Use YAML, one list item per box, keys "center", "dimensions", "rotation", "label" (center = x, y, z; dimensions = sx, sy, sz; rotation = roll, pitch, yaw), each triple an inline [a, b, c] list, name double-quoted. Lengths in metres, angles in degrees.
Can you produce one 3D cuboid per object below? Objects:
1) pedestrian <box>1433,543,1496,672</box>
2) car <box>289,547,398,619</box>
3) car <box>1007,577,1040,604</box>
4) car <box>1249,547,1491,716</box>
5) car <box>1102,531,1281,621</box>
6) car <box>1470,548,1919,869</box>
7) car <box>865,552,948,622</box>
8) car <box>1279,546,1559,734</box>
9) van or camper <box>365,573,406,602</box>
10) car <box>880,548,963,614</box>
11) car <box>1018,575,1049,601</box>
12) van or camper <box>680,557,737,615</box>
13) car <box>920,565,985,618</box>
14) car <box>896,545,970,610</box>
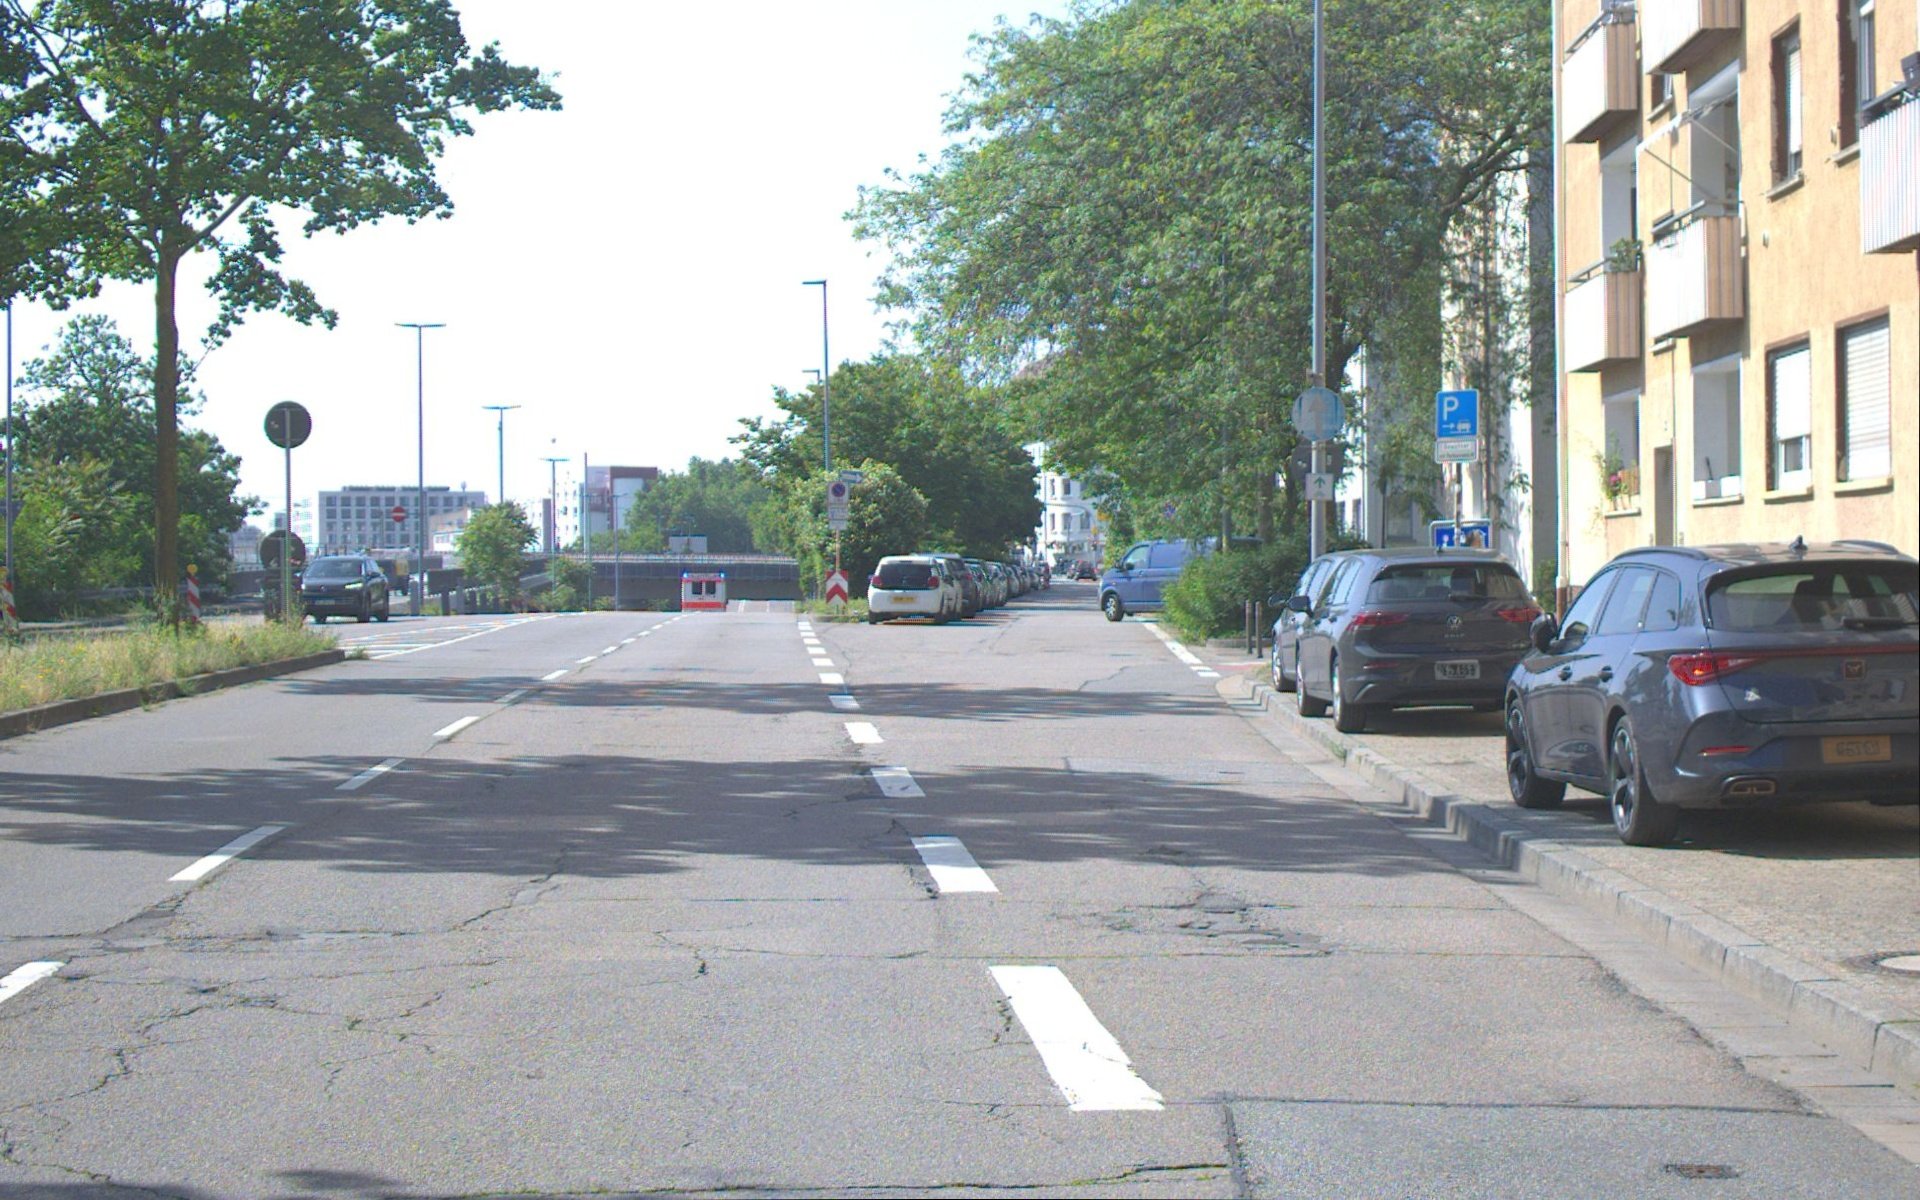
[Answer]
- center: [6.387, 0.089, 43.549]
  dimensions: [0.655, 1.603, 0.824]
  rotation: [-2, 1, 3]
  label: "pedestrian"
- center: [-15.269, -0.437, 85.327]
  dimensions: [1.993, 1.728, 4.730]
  rotation: [0, 0, -2]
  label: "car"
- center: [3.961, -0.614, 213.340]
  dimensions: [1.993, 1.651, 4.000]
  rotation: [0, 0, 1]
  label: "car"
- center: [3.975, 0.260, 33.884]
  dimensions: [1.703, 1.509, 4.092]
  rotation: [-1, 1, -2]
  label: "car"
- center: [5.302, -0.567, 79.181]
  dimensions: [1.883, 1.915, 4.008]
  rotation: [2, 1, -37]
  label: "car"
- center: [3.960, 0.457, 17.751]
  dimensions: [1.800, 1.433, 4.590]
  rotation: [0, 1, -2]
  label: "car"
- center: [-1.154, -0.297, 75.290]
  dimensions: [1.619, 1.500, 3.461]
  rotation: [0, 1, 3]
  label: "car"
- center: [3.762, 0.284, 28.816]
  dimensions: [1.710, 1.457, 4.256]
  rotation: [0, 1, -1]
  label: "car"
- center: [-27.522, -0.610, 164.795]
  dimensions: [1.466, 1.345, 4.631]
  rotation: [0, 0, -4]
  label: "van or camper"
- center: [-0.871, -0.465, 79.979]
  dimensions: [1.721, 1.500, 4.132]
  rotation: [0, 1, 3]
  label: "car"
- center: [4.775, -0.795, 223.115]
  dimensions: [1.993, 1.651, 4.000]
  rotation: [0, 0, 1]
  label: "car"
- center: [-12.390, -0.701, 169.754]
  dimensions: [2.296, 2.780, 5.571]
  rotation: [1, 0, 1]
  label: "van or camper"
- center: [-0.206, -0.262, 101.217]
  dimensions: [1.664, 1.468, 3.789]
  rotation: [2, 1, 2]
  label: "car"
- center: [-0.651, -0.585, 85.600]
  dimensions: [1.771, 1.574, 4.186]
  rotation: [0, 1, 0]
  label: "car"
